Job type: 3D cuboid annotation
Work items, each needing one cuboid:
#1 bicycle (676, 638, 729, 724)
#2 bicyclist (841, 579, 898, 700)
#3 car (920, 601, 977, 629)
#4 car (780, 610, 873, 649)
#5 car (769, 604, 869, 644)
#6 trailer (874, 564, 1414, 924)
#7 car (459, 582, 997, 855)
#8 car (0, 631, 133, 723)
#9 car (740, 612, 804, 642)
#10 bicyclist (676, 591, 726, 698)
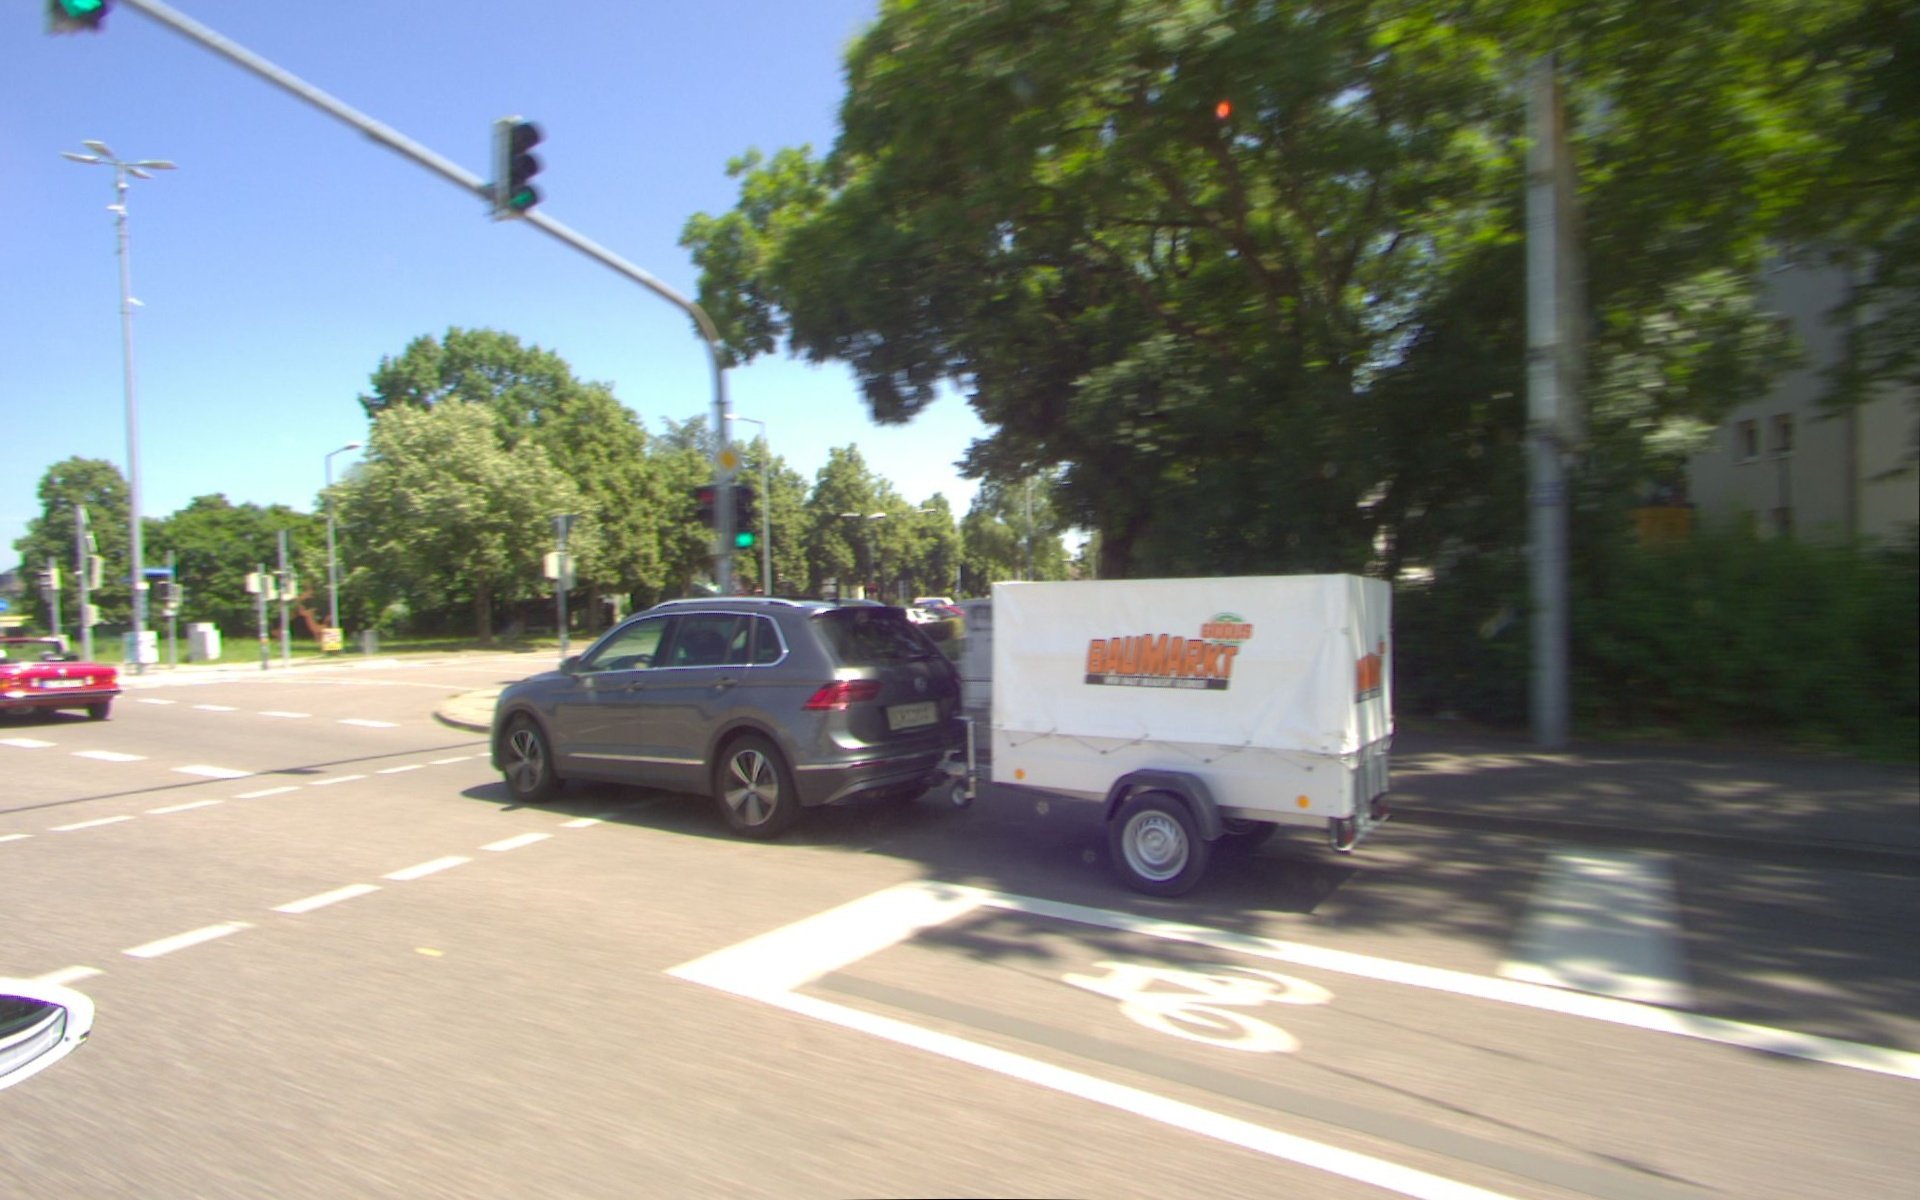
[{"bbox_3d":[-3.699,1.126,14.487,0.605,1.077,1.804,-2,1,-11],"label":"bicycle"},{"bbox_3d":[-1.257,0.520,13.777,0.635,1.566,0.908,-2,3,-11],"label":"bicyclist"},{"bbox_3d":[-0.723,0.989,64.453,3.427,1.599,1.584,-2,-2,11],"label":"car"},{"bbox_3d":[-5.437,1.216,40.963,3.427,1.446,1.584,-2,-2,11],"label":"car"},{"bbox_3d":[-5.269,0.915,37.656,3.425,1.447,1.585,0,-1,8],"label":"car"},{"bbox_3d":[1.058,0.706,6.053,2.897,1.676,1.401,-1,-1,33],"label":"trailer"},{"bbox_3d":[-2.004,0.777,8.086,4.347,1.680,1.722,-1,-1,34],"label":"car"},{"bbox_3d":[-15.883,1.224,17.025,4.253,1.366,1.756,-1,-1,35],"label":"car"},{"bbox_3d":[-8.495,1.242,45.604,1.555,1.242,3.490,-2,-2,13],"label":"car"},{"bbox_3d":[-3.742,0.629,14.525,0.605,1.488,0.628,-2,3,-11],"label":"bicyclist"}]
